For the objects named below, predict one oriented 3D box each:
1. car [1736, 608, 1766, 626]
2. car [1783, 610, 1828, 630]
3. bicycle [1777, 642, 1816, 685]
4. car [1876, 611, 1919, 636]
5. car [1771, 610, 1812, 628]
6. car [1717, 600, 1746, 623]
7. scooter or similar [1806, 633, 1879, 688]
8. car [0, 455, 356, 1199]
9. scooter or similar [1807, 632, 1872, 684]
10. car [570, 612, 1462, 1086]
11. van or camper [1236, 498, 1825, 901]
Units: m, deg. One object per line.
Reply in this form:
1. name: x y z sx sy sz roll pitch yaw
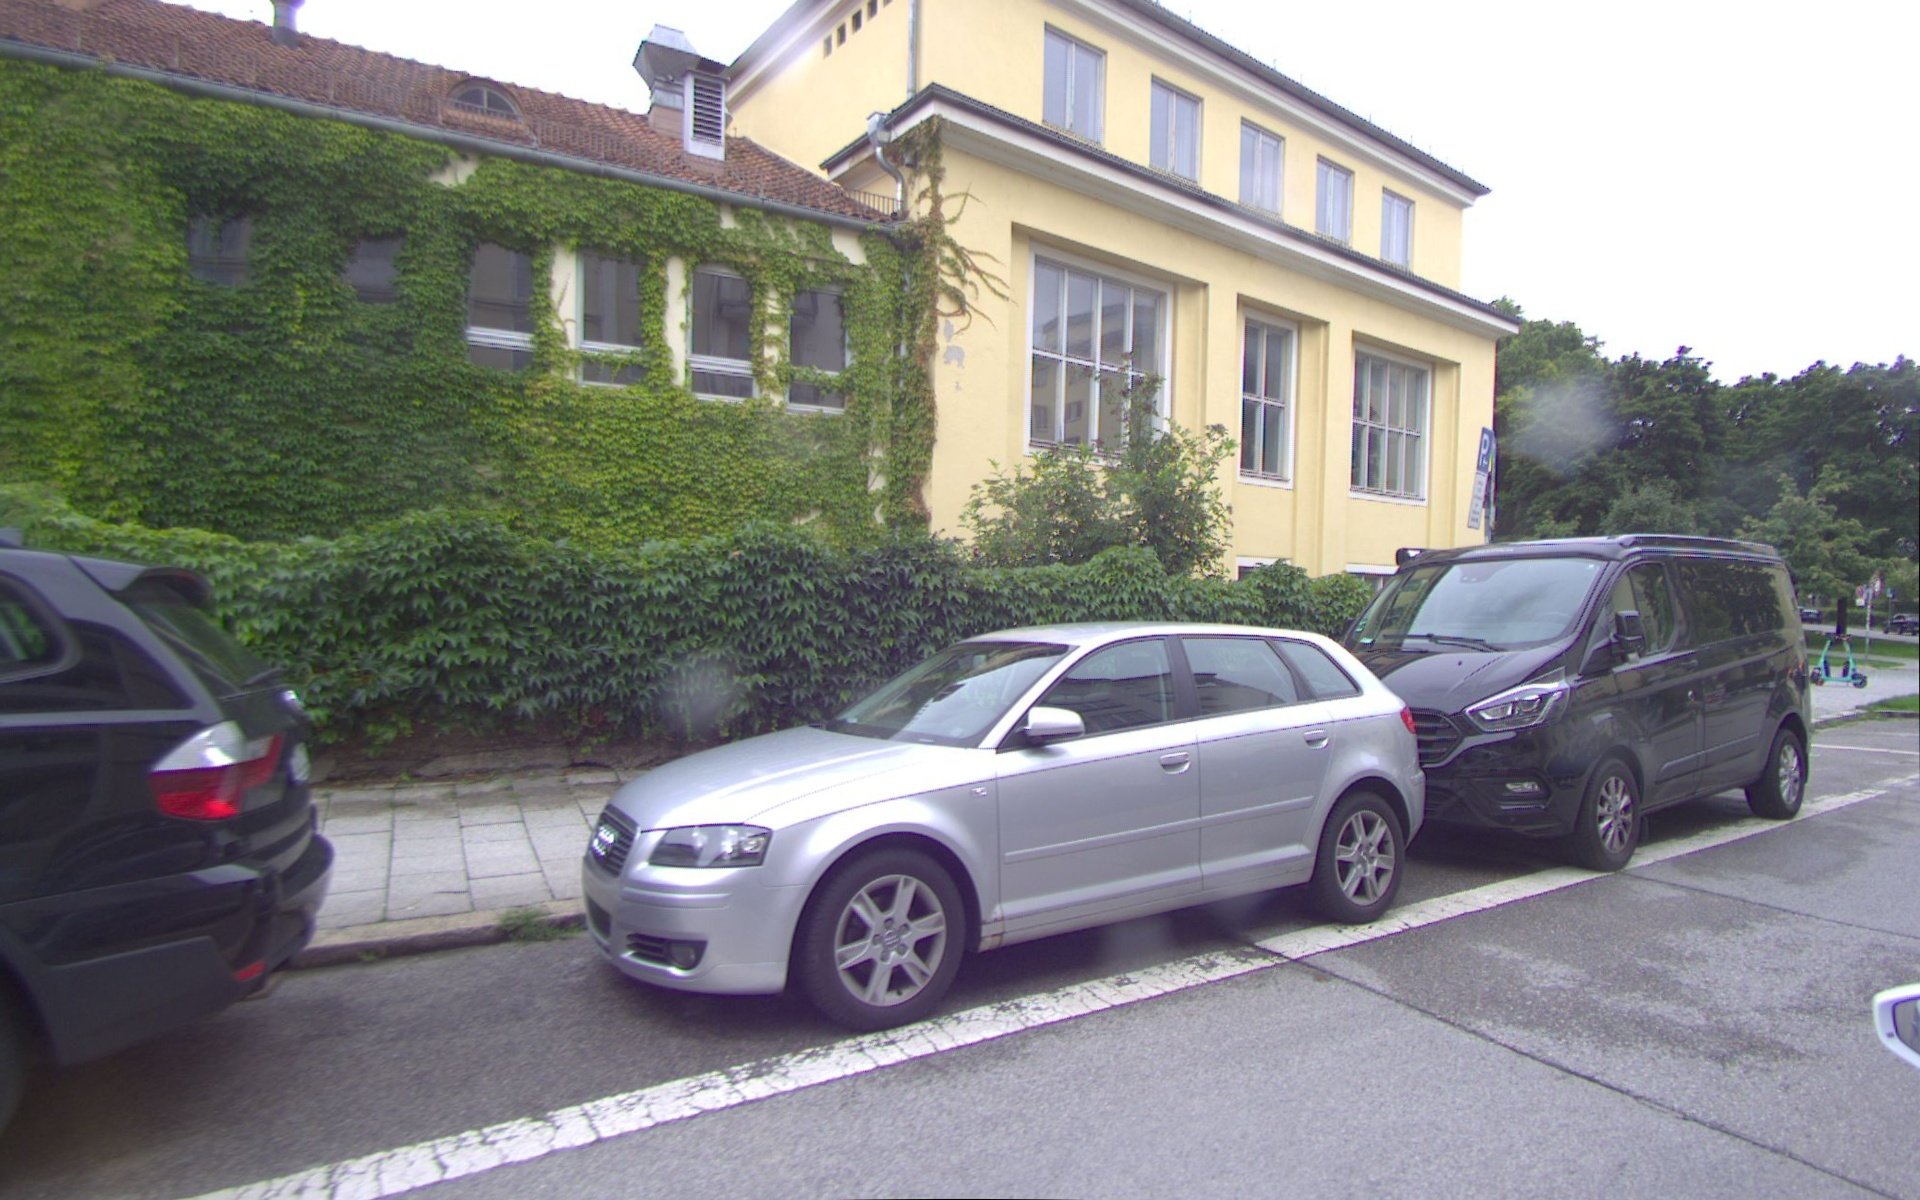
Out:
1. car: 86.499 1.814 109.916 1.847 1.840 3.993 2 1 29
2. car: 77.021 1.761 91.568 2.143 1.679 4.499 2 1 28
3. bicycle: 19.910 1.492 23.930 0.463 0.935 1.202 2 1 29
4. car: 64.873 1.598 69.187 1.836 1.655 4.273 2 1 31
5. car: 80.026 1.809 96.749 2.143 1.679 4.499 2 1 28
6. car: 90.923 1.380 118.398 1.847 2.602 4.924 2 1 29
7. scooter or similar: 20.719 1.412 23.603 0.596 1.236 1.171 1 -2 -32
8. car: -3.960 0.551 2.266 4.372 1.752 1.613 1 -3 -30
9. scooter or similar: 21.222 1.391 24.239 1.158 1.236 0.447 0 -1 2
10. car: 0.430 0.802 4.748 4.026 1.396 1.611 1 -3 -32
11. van or camper: 4.353 0.569 7.393 4.705 2.093 1.948 1 -1 -35
